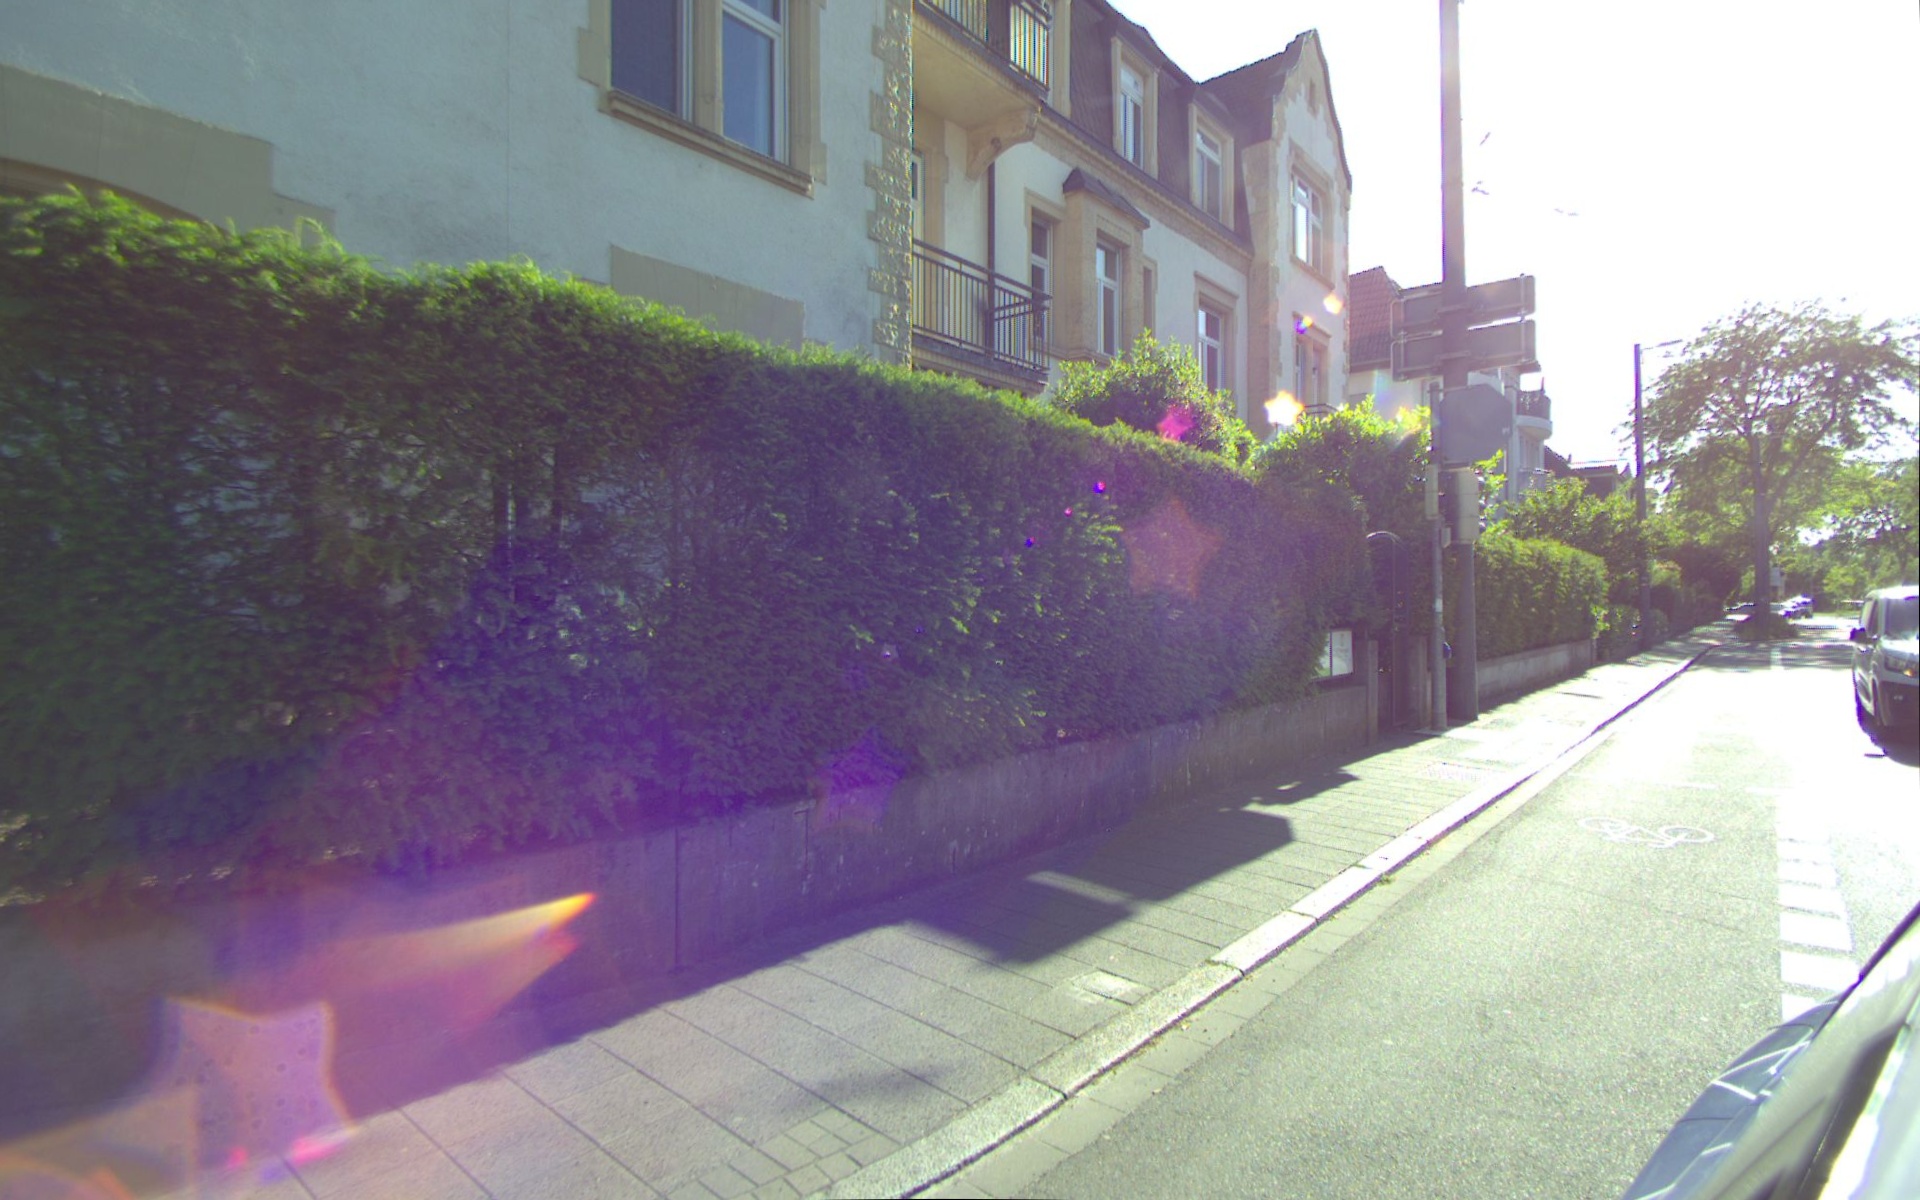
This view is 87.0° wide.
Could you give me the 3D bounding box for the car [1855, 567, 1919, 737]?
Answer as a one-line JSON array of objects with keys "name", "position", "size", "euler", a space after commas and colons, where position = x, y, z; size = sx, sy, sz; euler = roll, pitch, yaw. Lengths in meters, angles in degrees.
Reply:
[{"name": "car", "position": [12.291, 0.512, 12.247], "size": [1.848, 1.821, 4.632], "euler": [-2, -1, 38]}]
